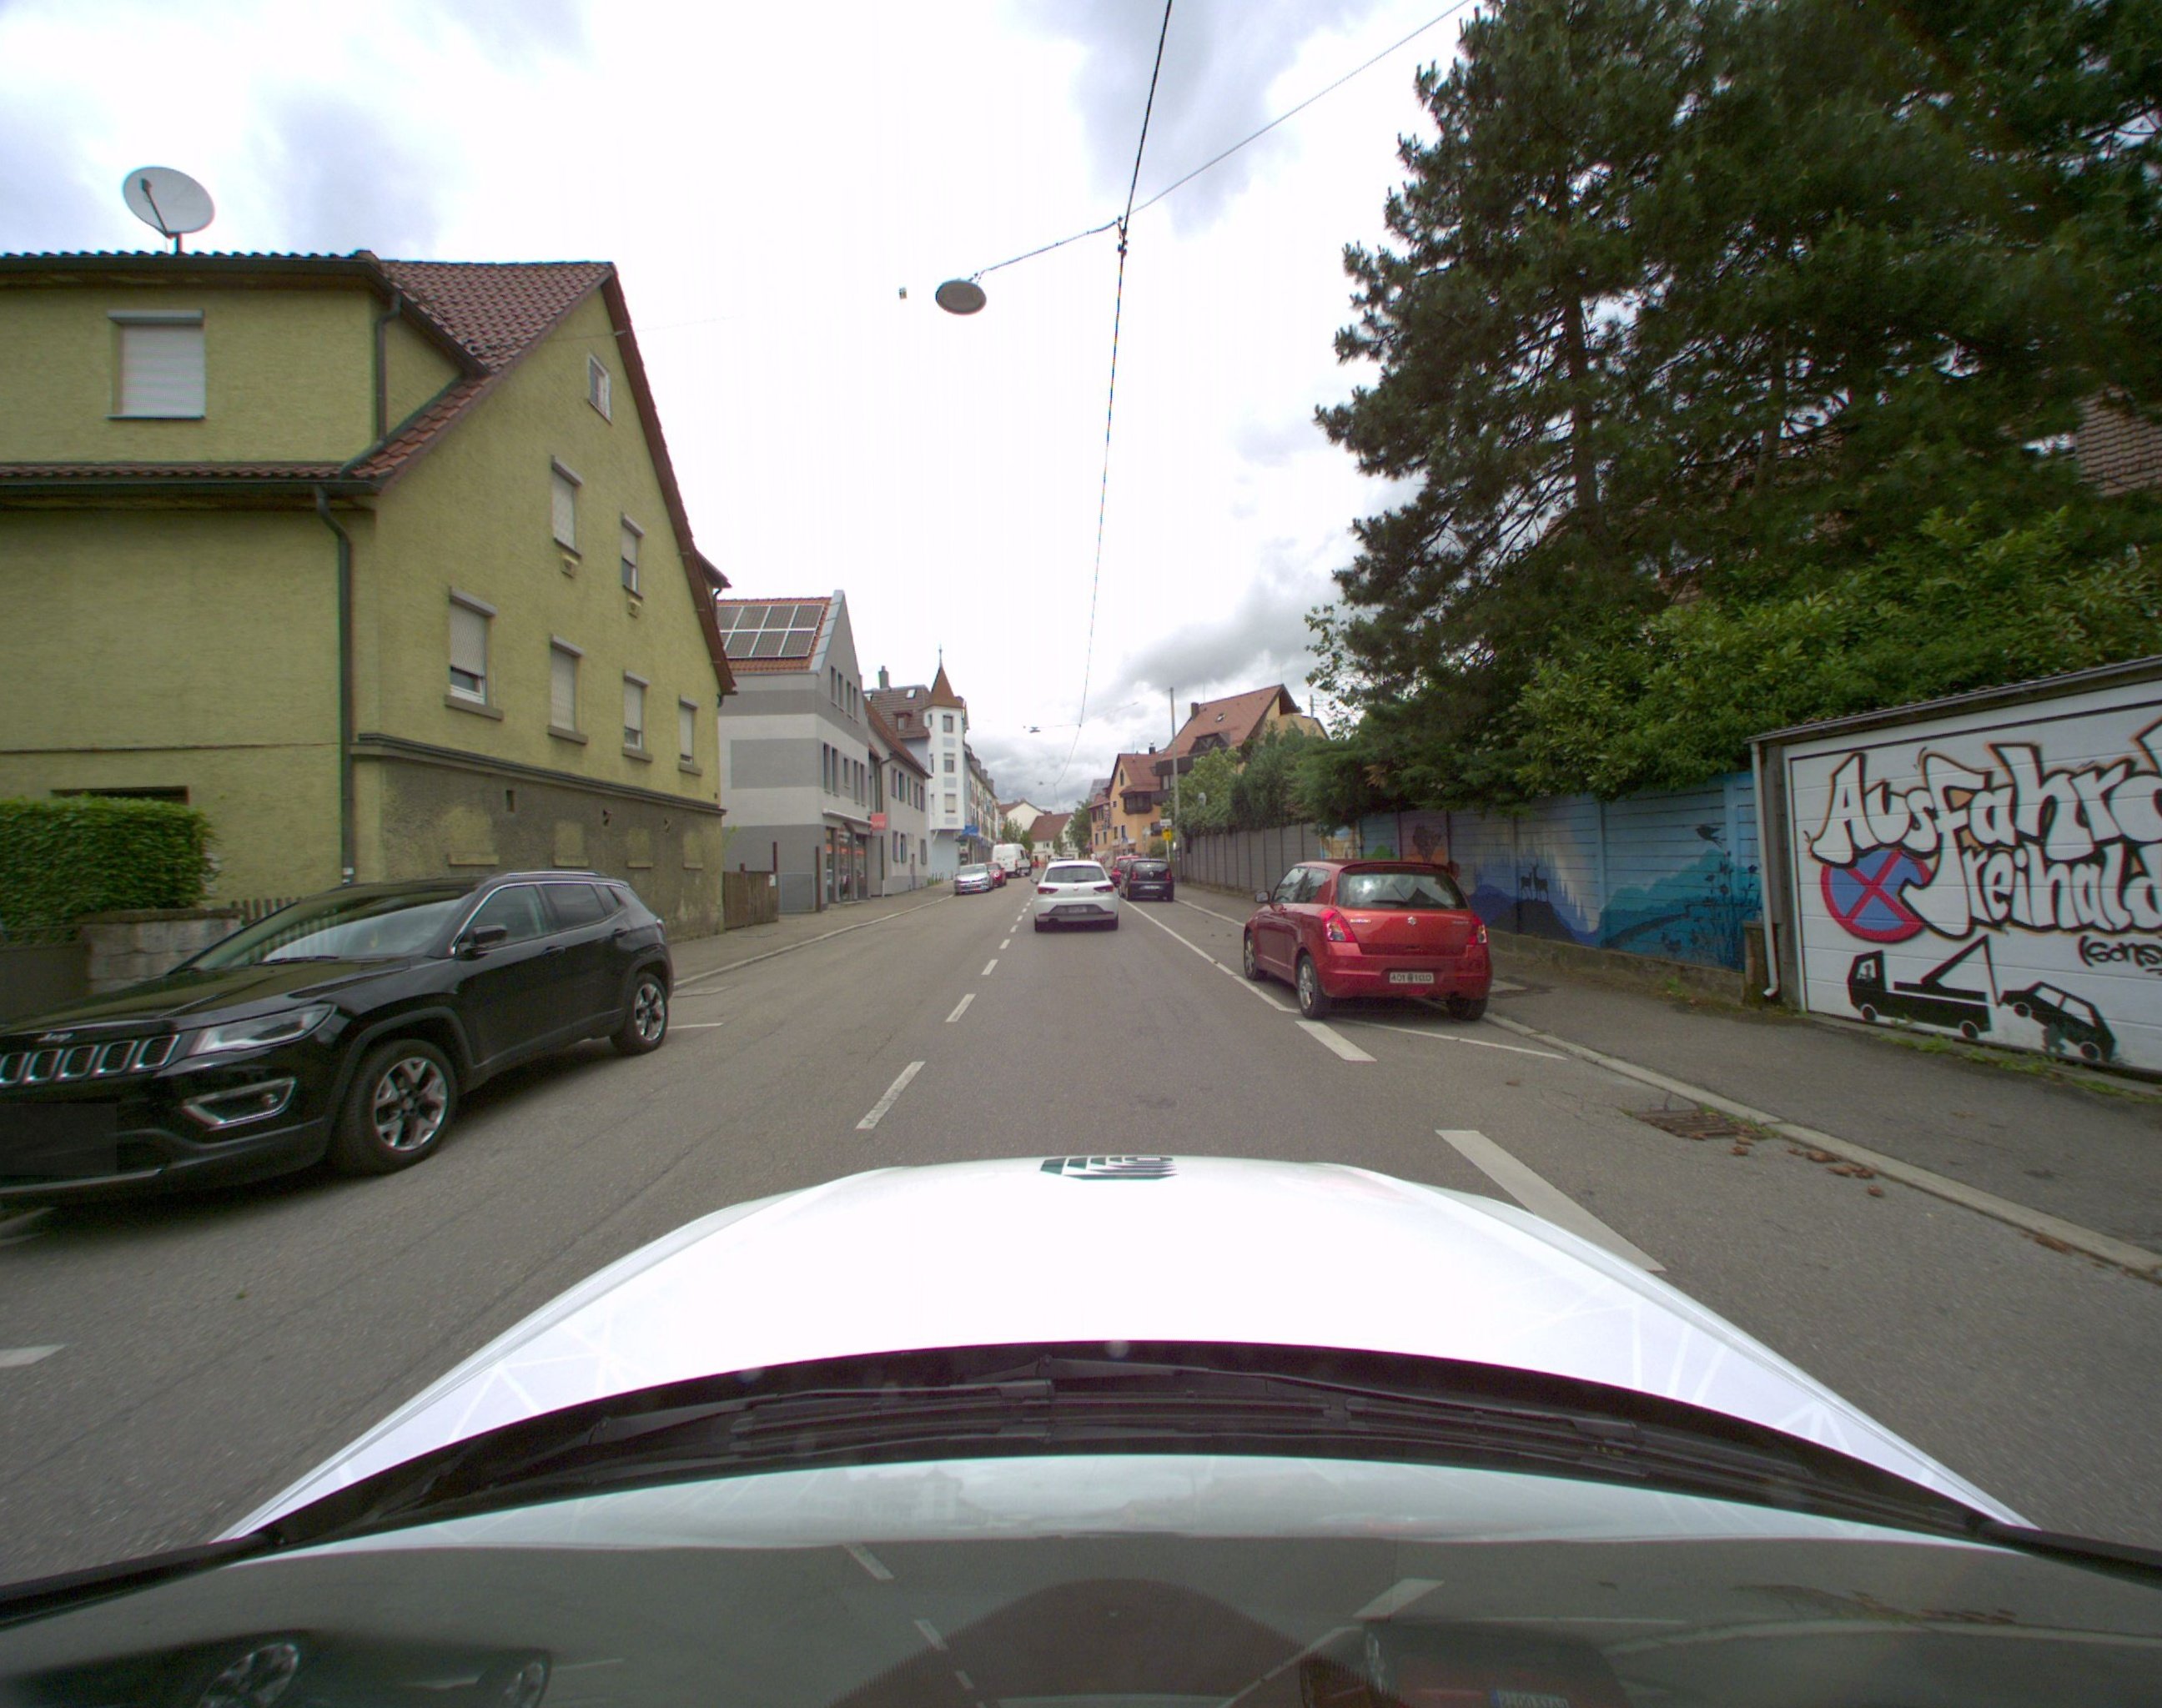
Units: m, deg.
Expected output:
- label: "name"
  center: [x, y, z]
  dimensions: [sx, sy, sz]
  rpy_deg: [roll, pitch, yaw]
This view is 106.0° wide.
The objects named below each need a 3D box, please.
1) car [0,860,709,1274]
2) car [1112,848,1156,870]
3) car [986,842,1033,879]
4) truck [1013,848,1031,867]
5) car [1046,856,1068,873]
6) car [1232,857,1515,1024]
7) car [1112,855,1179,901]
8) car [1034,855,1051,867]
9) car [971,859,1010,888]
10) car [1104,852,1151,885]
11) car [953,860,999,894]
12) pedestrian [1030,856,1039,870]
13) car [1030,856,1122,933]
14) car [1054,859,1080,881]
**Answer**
- label: "car"
  center: [-4.649, 0.971, 5.808]
  dimensions: [1.892, 1.619, 4.523]
  rpy_deg: [-4, 1, -1]
- label: "car"
  center: [3.808, 0.359, 59.070]
  dimensions: [2.811, 1.512, 1.701]
  rpy_deg: [-1, 1, -13]
- label: "car"
  center: [-5.571, 0.473, 63.957]
  dimensions: [2.138, 2.687, 5.562]
  rpy_deg: [-1, 0, 11]
- label: "truck"
  center: [-8.067, 0.454, 112.245]
  dimensions: [2.146, 2.459, 5.393]
  rpy_deg: [-1, 0, -1]
- label: "car"
  center: [-2.259, 0.992, 75.424]
  dimensions: [1.755, 1.452, 3.994]
  rpy_deg: [-2, 0, -4]
- label: "car"
  center: [2.942, 0.765, 9.154]
  dimensions: [1.753, 1.452, 3.999]
  rpy_deg: [0, 0, 0]
- label: "car"
  center: [2.193, 0.805, 28.782]
  dimensions: [1.755, 1.452, 3.994]
  rpy_deg: [-2, 0, -4]
- label: "car"
  center: [-6.066, 1.077, 128.578]
  dimensions: [1.783, 1.701, 4.010]
  rpy_deg: [-2, 0, 9]
- label: "car"
  center: [-5.137, 1.080, 46.689]
  dimensions: [1.794, 1.479, 4.048]
  rpy_deg: [-5, 0, -2]
- label: "car"
  center: [2.237, 0.695, 39.992]
  dimensions: [1.755, 1.452, 3.994]
  rpy_deg: [-2, 0, -4]
- label: "car"
  center: [-5.234, 1.104, 40.953]
  dimensions: [1.794, 1.479, 4.048]
  rpy_deg: [-5, 0, -2]
- label: "pedestrian"
  center: [-7.044, 1.343, 122.852]
  dimensions: [1.224, 2.013, 1.175]
  rpy_deg: [-2, 0, -1]
- label: "car"
  center: [-0.131, 0.812, 18.070]
  dimensions: [1.753, 1.452, 3.998]
  rpy_deg: [-2, 0, -1]
- label: "car"
  center: [-0.998, 1.137, 58.644]
  dimensions: [1.753, 1.452, 3.998]
  rpy_deg: [-2, 0, -1]
